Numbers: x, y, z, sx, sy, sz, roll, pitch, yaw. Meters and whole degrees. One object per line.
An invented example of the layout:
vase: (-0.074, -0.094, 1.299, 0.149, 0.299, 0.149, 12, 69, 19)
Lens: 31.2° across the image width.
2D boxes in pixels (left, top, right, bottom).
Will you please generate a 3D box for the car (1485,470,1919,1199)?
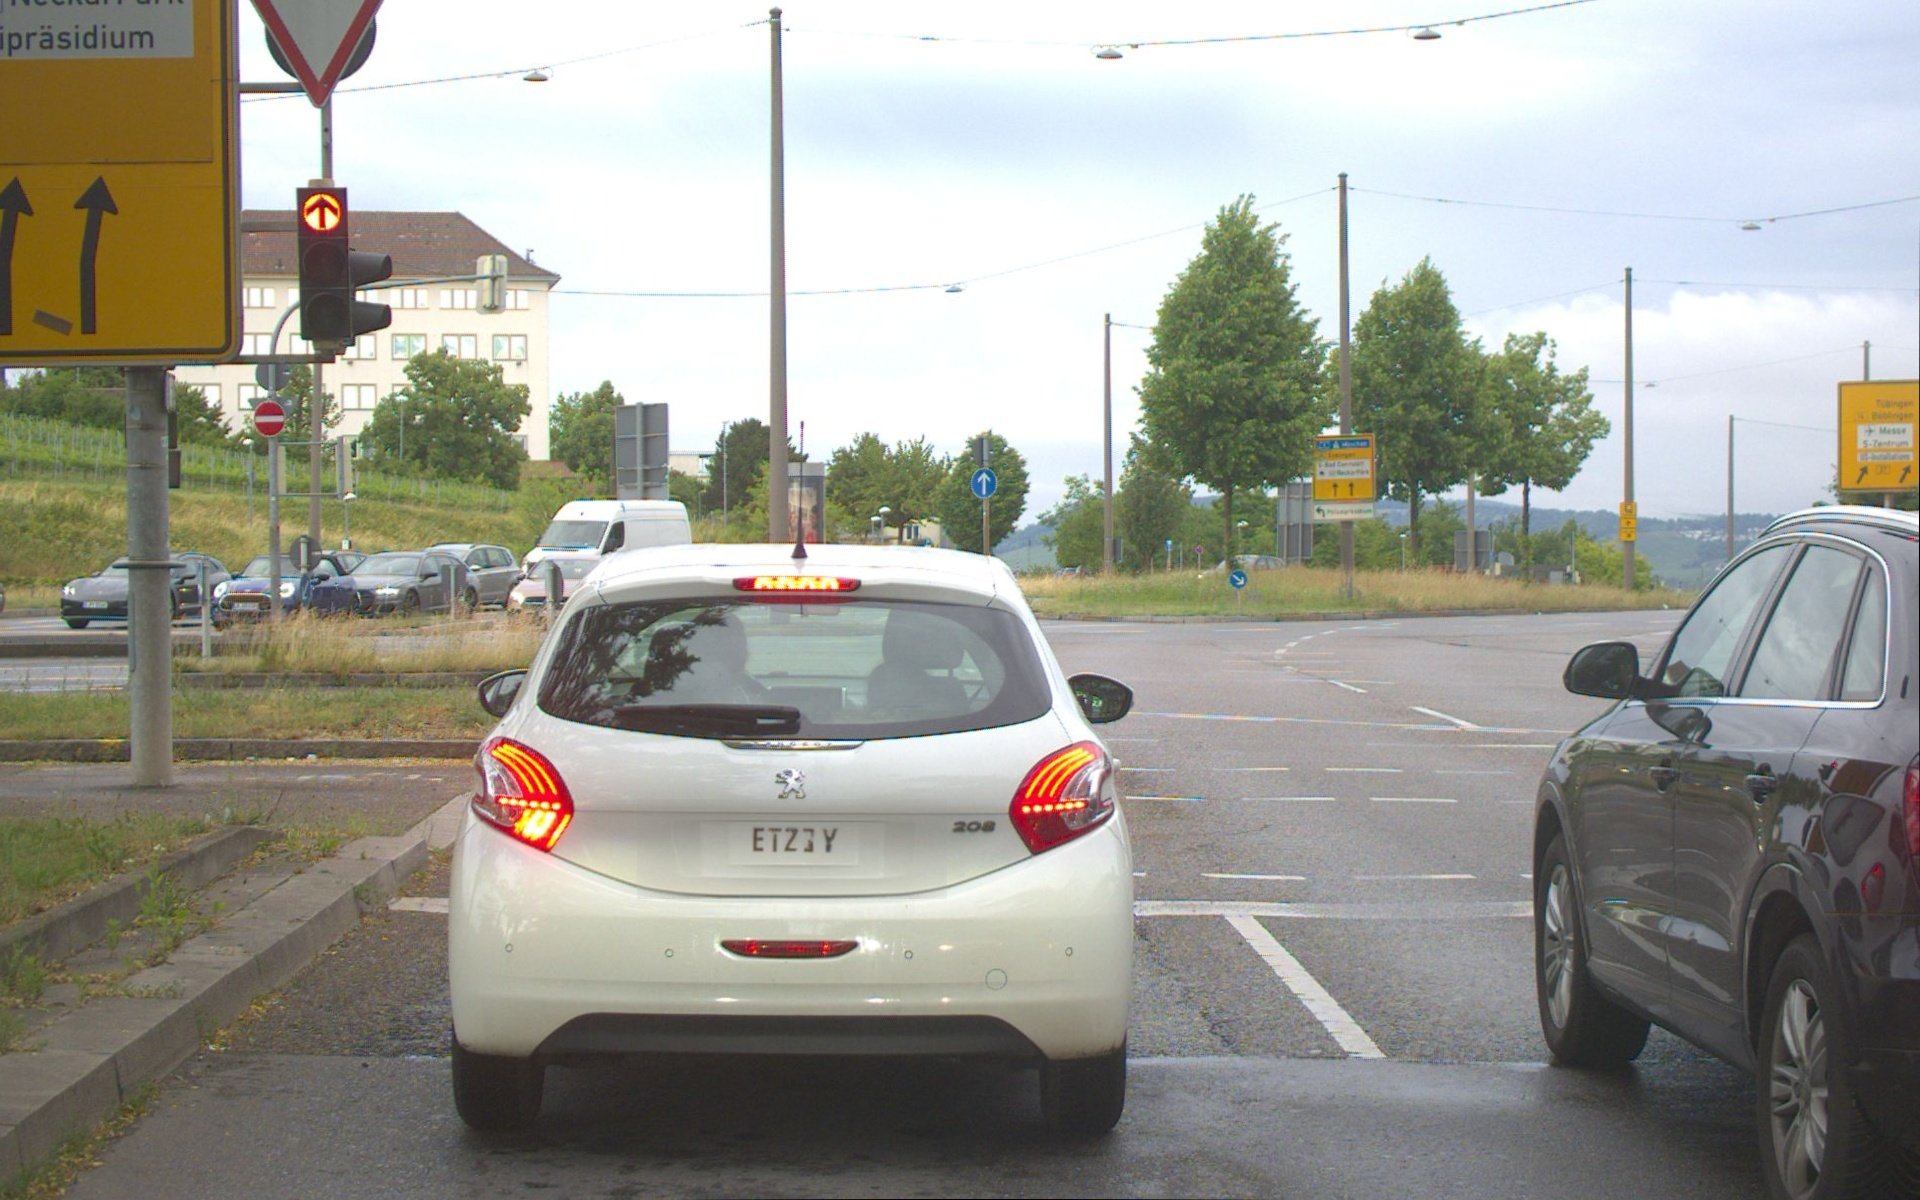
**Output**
car: (2.584, 0.567, 8.318, 1.884, 1.590, 4.114, 2, 1, -1)

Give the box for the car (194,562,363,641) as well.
car: (-12.589, 0.036, 63.688, 1.787, 1.391, 3.880, 1, 0, 9)

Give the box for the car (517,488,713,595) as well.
car: (-8.716, -1.457, 87.547, 1.996, 2.550, 6.161, 2, 1, 25)

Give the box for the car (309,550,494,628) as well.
car: (-11.258, -0.231, 69.683, 1.902, 1.484, 4.889, 2, 1, 14)

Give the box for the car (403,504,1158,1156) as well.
car: (-0.455, 0.510, 9.904, 1.718, 1.484, 4.000, 1, 1, -1)

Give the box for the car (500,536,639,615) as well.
car: (-7.284, -0.456, 64.495, 1.776, 1.420, 4.373, 0, 0, 4)

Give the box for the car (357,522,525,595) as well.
car: (-11.955, -0.940, 79.442, 1.996, 1.570, 4.190, 2, 1, 21)

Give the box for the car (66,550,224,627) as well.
car: (-15.569, -0.198, 65.883, 1.787, 1.391, 3.881, 1, 0, 5)
